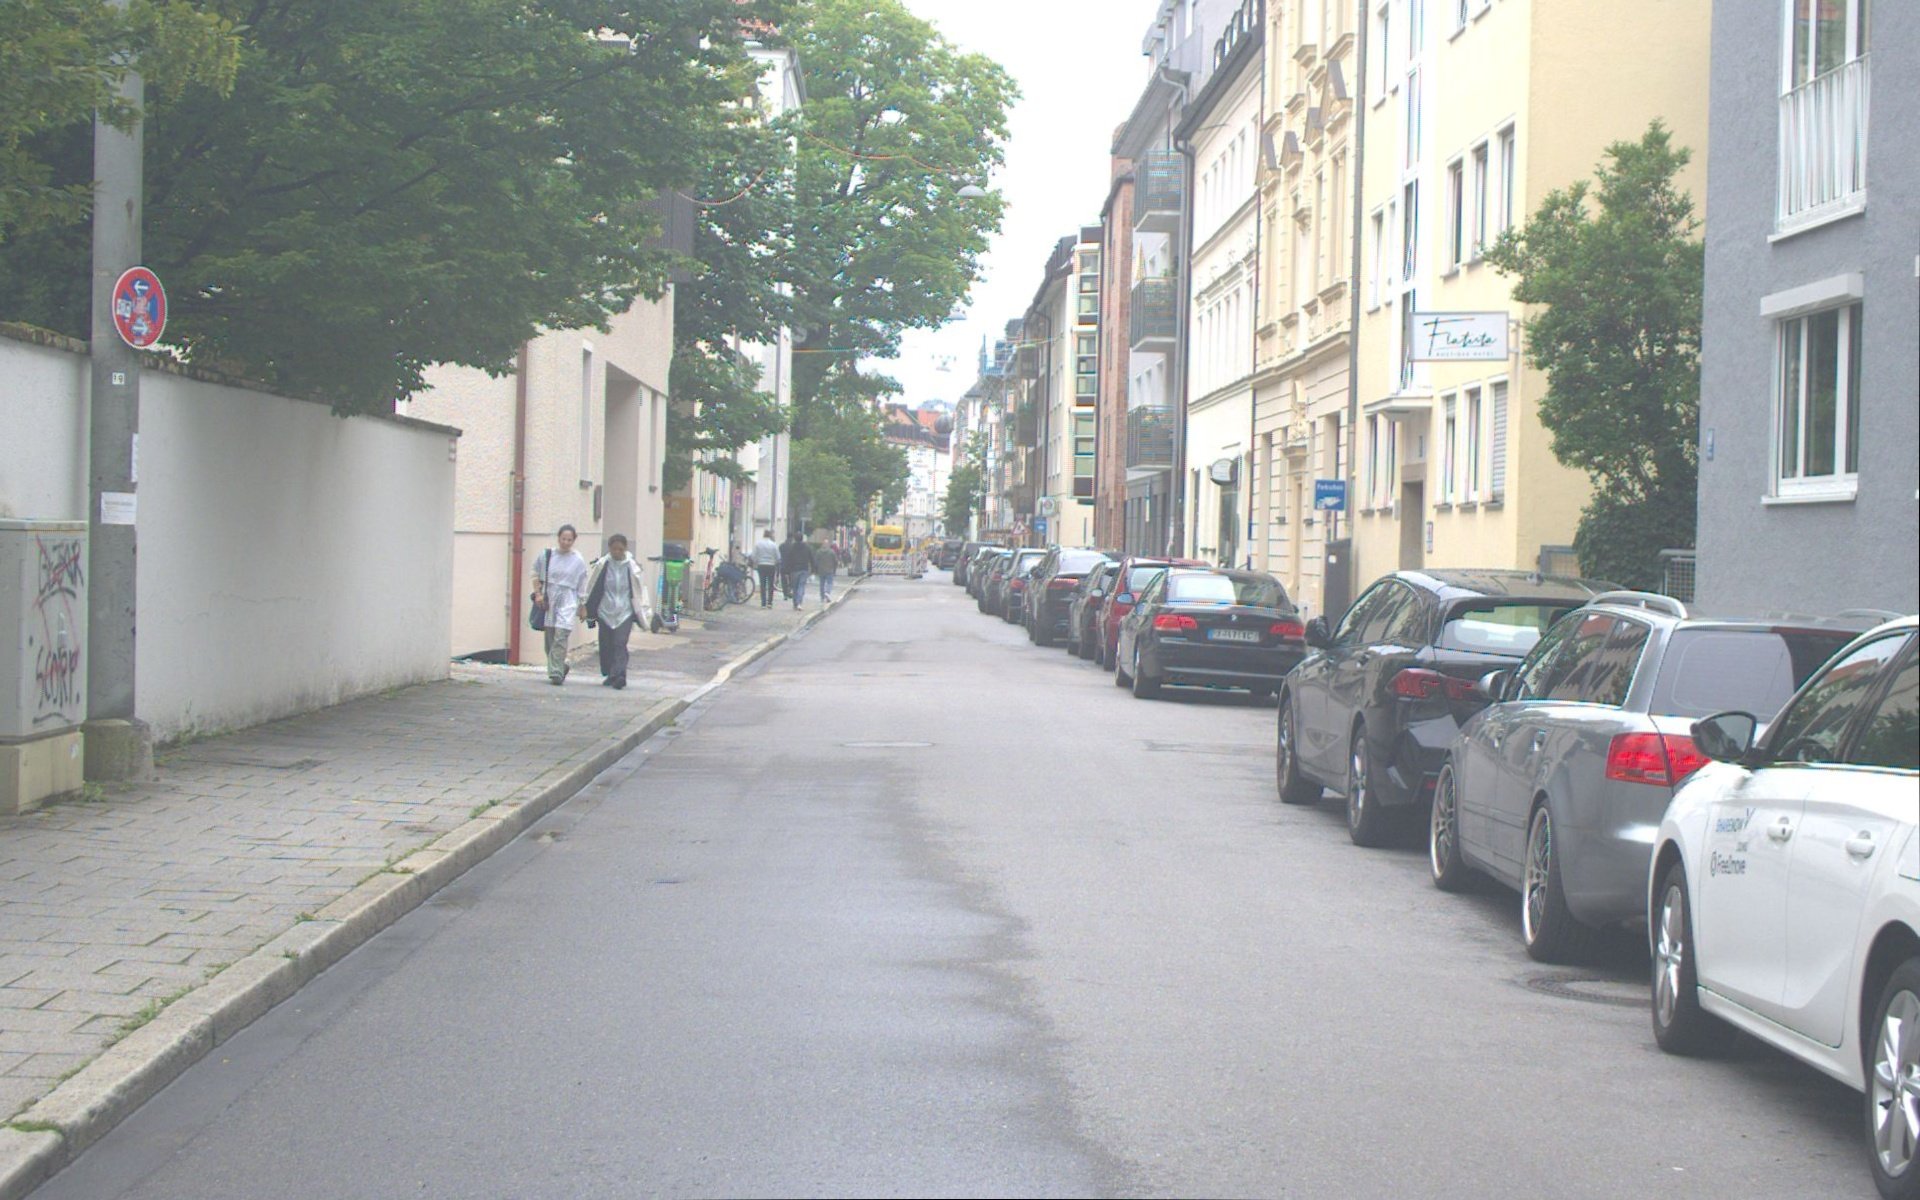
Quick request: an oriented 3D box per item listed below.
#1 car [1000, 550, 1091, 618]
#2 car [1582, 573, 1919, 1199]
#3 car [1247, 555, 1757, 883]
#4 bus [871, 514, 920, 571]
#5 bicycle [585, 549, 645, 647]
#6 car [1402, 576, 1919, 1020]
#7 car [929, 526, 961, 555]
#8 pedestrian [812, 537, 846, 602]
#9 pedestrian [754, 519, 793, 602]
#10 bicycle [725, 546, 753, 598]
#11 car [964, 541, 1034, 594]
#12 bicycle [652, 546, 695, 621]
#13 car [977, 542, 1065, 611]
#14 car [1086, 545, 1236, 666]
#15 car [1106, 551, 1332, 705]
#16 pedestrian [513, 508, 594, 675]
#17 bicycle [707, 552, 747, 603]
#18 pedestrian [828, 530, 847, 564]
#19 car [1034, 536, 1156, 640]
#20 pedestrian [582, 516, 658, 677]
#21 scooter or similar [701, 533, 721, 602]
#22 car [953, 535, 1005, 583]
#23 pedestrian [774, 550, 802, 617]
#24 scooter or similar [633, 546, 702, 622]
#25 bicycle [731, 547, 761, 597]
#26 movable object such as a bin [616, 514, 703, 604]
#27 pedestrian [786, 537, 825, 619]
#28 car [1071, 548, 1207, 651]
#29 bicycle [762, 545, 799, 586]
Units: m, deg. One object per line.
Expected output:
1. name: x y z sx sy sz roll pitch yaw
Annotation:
1. car: 1.783 -0.360 72.803 1.808 1.358 3.945 1 1 0
2. car: 3.065 0.744 9.554 1.769 1.440 4.344 5 1 0
3. car: 2.858 0.562 19.105 1.841 1.423 4.264 5 1 -3
4. bus: -3.544 -3.152 189.730 2.592 3.091 6.306 1 0 -1
5. bicycle: -4.219 -0.039 42.133 0.537 1.135 1.917 3 1 -2
6. car: 3.072 0.700 14.245 1.790 1.396 4.485 5 1 0
7. car: -0.993 -3.855 221.833 1.801 1.706 3.827 5 1 -3
8. pedestrian: -3.408 -0.799 89.559 0.753 1.653 0.906 4 0 -1
9. pedestrian: -4.148 -0.879 76.322 0.718 1.790 0.917 3 0 -1
10. bicycle: -5.079 -0.646 78.978 0.458 1.155 1.605 4 0 0
11. car: 1.194 -1.026 107.361 1.885 1.550 4.392 2 1 -3
12. bicycle: -4.643 -0.276 55.771 0.544 1.157 1.882 3 1 -2
13. car: 1.445 -0.586 82.605 1.839 1.523 4.293 2 1 -2
14. car: 2.656 0.045 46.154 1.676 1.487 3.854 2 1 -1
15. car: 2.666 0.247 36.352 1.825 1.330 4.509 5 1 -1
16. pedestrian: -4.058 -0.090 34.345 0.613 1.615 0.687 4 0 -1
17. bicycle: -4.810 -0.474 70.838 0.703 0.981 1.823 6 0 -5
18. pedestrian: -5.381 -2.338 151.042 0.756 1.486 0.831 1 0 -1
19. car: 2.211 -0.236 57.310 1.702 1.601 4.685 2 1 -1
20. pedestrian: -3.411 -0.035 34.508 0.622 1.573 0.714 3 0 -1
21. scooter or similar: -5.009 -0.647 69.101 0.317 1.371 1.239 1 0 -1
22. car: 0.796 -1.711 143.949 1.801 1.814 4.001 5 1 -3
23. pedestrian: -4.492 -0.431 89.843 0.612 1.707 0.823 4 0 -1
24. scooter or similar: -4.564 -0.242 53.707 0.552 1.140 1.357 4 1 16
25. bicycle: -5.026 -0.660 80.694 0.561 1.155 1.721 2 0 -7
26. movable object such as a bin: -5.328 -0.741 61.022 1.174 1.437 1.248 7 2 5
27. pedestrian: -3.433 -0.487 76.444 0.718 1.759 0.838 3 0 -1
28. car: 2.606 -0.040 50.846 1.676 1.388 4.066 2 1 -1
29. bicycle: -5.413 -1.050 103.656 0.641 1.213 1.665 1 0 -20
